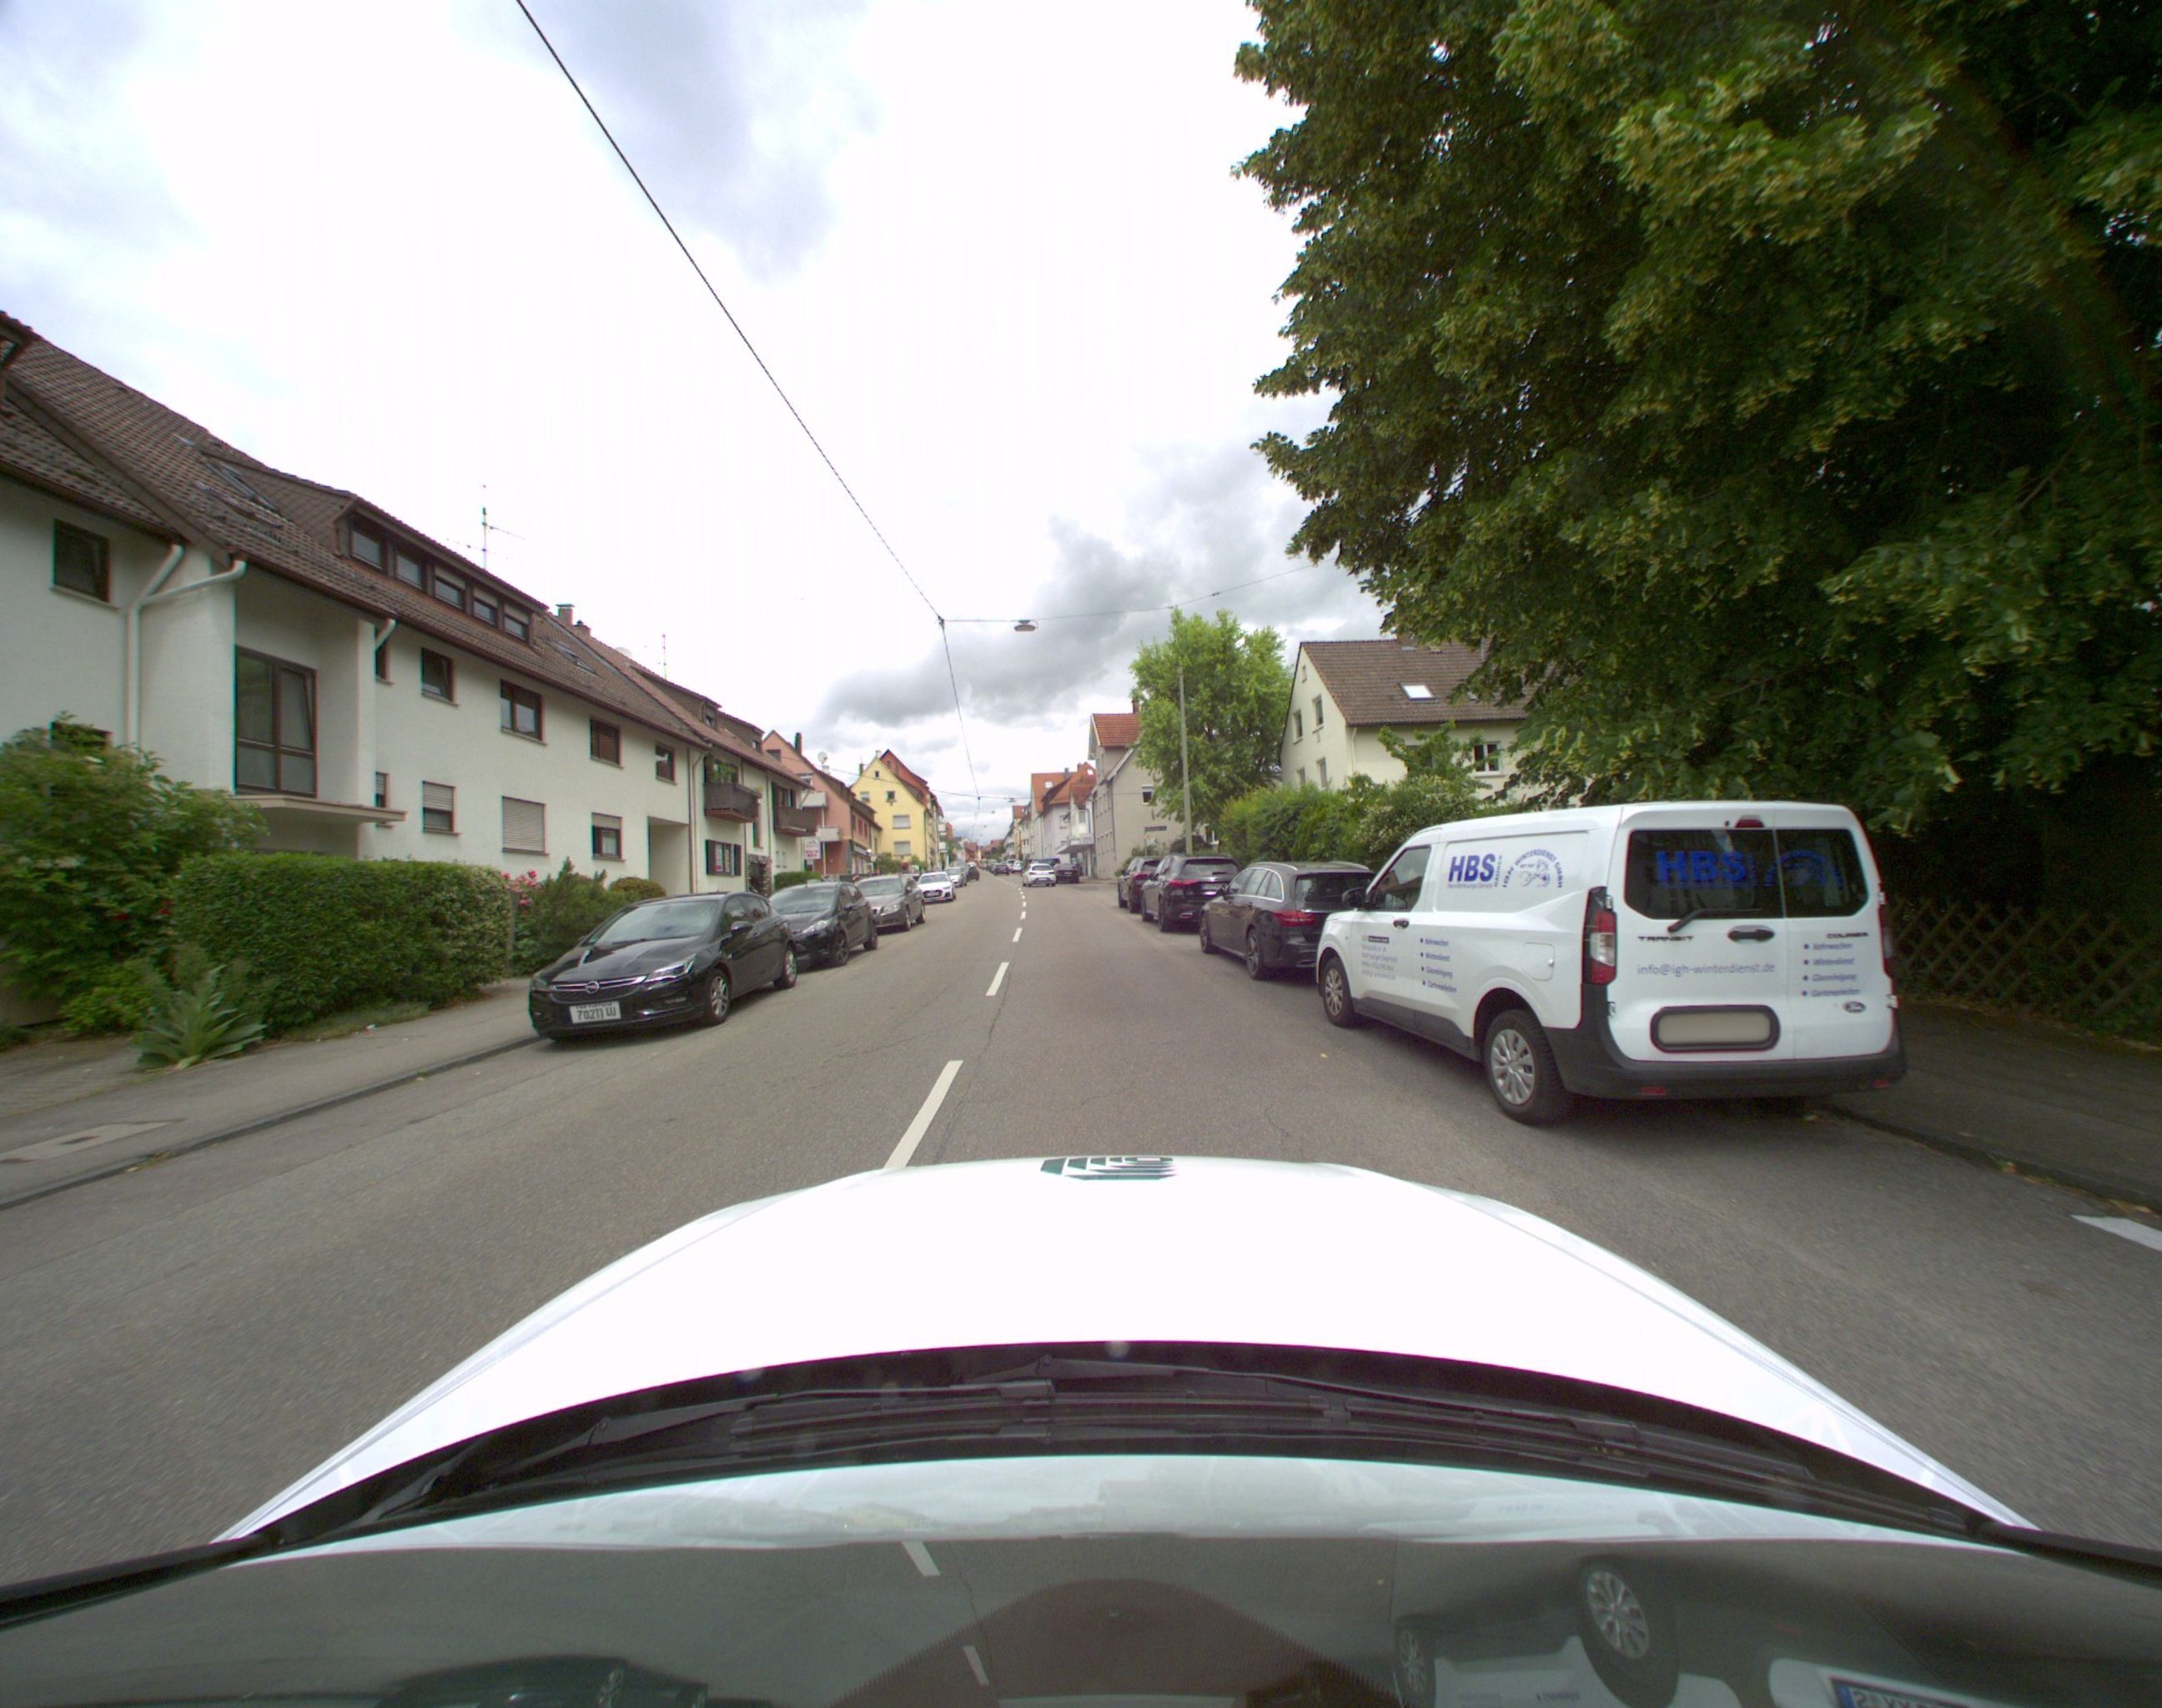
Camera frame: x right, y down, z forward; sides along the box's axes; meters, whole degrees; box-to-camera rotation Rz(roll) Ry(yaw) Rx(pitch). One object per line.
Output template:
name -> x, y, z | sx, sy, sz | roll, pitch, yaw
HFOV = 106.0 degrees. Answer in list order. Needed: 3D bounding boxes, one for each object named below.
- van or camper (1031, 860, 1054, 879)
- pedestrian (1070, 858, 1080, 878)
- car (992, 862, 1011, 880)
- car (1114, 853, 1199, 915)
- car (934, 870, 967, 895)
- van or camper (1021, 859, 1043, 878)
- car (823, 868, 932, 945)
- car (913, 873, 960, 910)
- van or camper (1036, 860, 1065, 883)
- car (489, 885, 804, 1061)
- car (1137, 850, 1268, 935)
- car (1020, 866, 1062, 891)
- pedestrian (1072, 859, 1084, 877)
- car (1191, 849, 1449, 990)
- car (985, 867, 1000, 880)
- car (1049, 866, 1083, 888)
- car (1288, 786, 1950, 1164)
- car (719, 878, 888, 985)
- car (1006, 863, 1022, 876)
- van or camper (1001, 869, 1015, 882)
van or camper -> -3.960, 1.569, 83.827 | 1.870, 1.829, 4.666 | 0, -1, -9
pedestrian -> -0.571, 1.412, 81.420 | 0.752, 2.014, 0.623 | -3, -1, 27
car -> -9.759, 2.078, 99.766 | 2.152, 2.014, 3.987 | -1, -1, -9
car -> 2.105, 0.847, 23.972 | 1.807, 1.615, 4.533 | -1, -1, -4
car -> -10.091, 2.183, 63.185 | 1.829, 1.578, 4.029 | -6, 0, -1
van or camper -> -5.495, 1.619, 91.441 | 1.992, 2.066, 5.927 | 0, -1, -8
car -> -5.363, 1.306, 22.108 | 1.843, 1.680, 4.781 | -5, 0, -3
car -> -6.750, 1.709, 38.358 | 1.724, 1.458, 3.890 | -6, -1, -6
van or camper -> -2.748, 1.525, 72.109 | 1.926, 1.926, 4.816 | -2, -1, -9
car -> -4.865, 1.217, 9.880 | 1.759, 1.438, 4.072 | -5, -1, -4
car -> 2.533, 0.802, 18.209 | 1.989, 1.615, 4.533 | -1, -1, -4
car -> -2.565, 1.497, 50.995 | 1.943, 1.439, 3.981 | -2, -1, -13
pedestrian -> -0.276, 1.416, 79.759 | 0.862, 1.725, 0.623 | -3, -1, 27
car -> 3.014, 0.779, 11.490 | 1.989, 1.478, 4.613 | -3, -1, -4
car -> -14.238, 3.174, 130.377 | 2.152, 2.014, 3.987 | -1, -1, -9
car -> -1.174, 1.706, 60.655 | 1.992, 1.518, 4.877 | -1, -1, -8
car -> 3.173, 0.576, 6.071 | 1.835, 1.774, 4.309 | 0, 0, -5
car -> -4.905, 1.291, 15.020 | 1.759, 1.438, 4.073 | -7, 0, -3
car -> -9.375, 2.141, 113.015 | 1.940, 1.693, 3.987 | 0, -1, -9
van or camper -> -12.083, 3.576, 135.031 | 1.941, 2.055, 4.547 | -2, -1, -10
